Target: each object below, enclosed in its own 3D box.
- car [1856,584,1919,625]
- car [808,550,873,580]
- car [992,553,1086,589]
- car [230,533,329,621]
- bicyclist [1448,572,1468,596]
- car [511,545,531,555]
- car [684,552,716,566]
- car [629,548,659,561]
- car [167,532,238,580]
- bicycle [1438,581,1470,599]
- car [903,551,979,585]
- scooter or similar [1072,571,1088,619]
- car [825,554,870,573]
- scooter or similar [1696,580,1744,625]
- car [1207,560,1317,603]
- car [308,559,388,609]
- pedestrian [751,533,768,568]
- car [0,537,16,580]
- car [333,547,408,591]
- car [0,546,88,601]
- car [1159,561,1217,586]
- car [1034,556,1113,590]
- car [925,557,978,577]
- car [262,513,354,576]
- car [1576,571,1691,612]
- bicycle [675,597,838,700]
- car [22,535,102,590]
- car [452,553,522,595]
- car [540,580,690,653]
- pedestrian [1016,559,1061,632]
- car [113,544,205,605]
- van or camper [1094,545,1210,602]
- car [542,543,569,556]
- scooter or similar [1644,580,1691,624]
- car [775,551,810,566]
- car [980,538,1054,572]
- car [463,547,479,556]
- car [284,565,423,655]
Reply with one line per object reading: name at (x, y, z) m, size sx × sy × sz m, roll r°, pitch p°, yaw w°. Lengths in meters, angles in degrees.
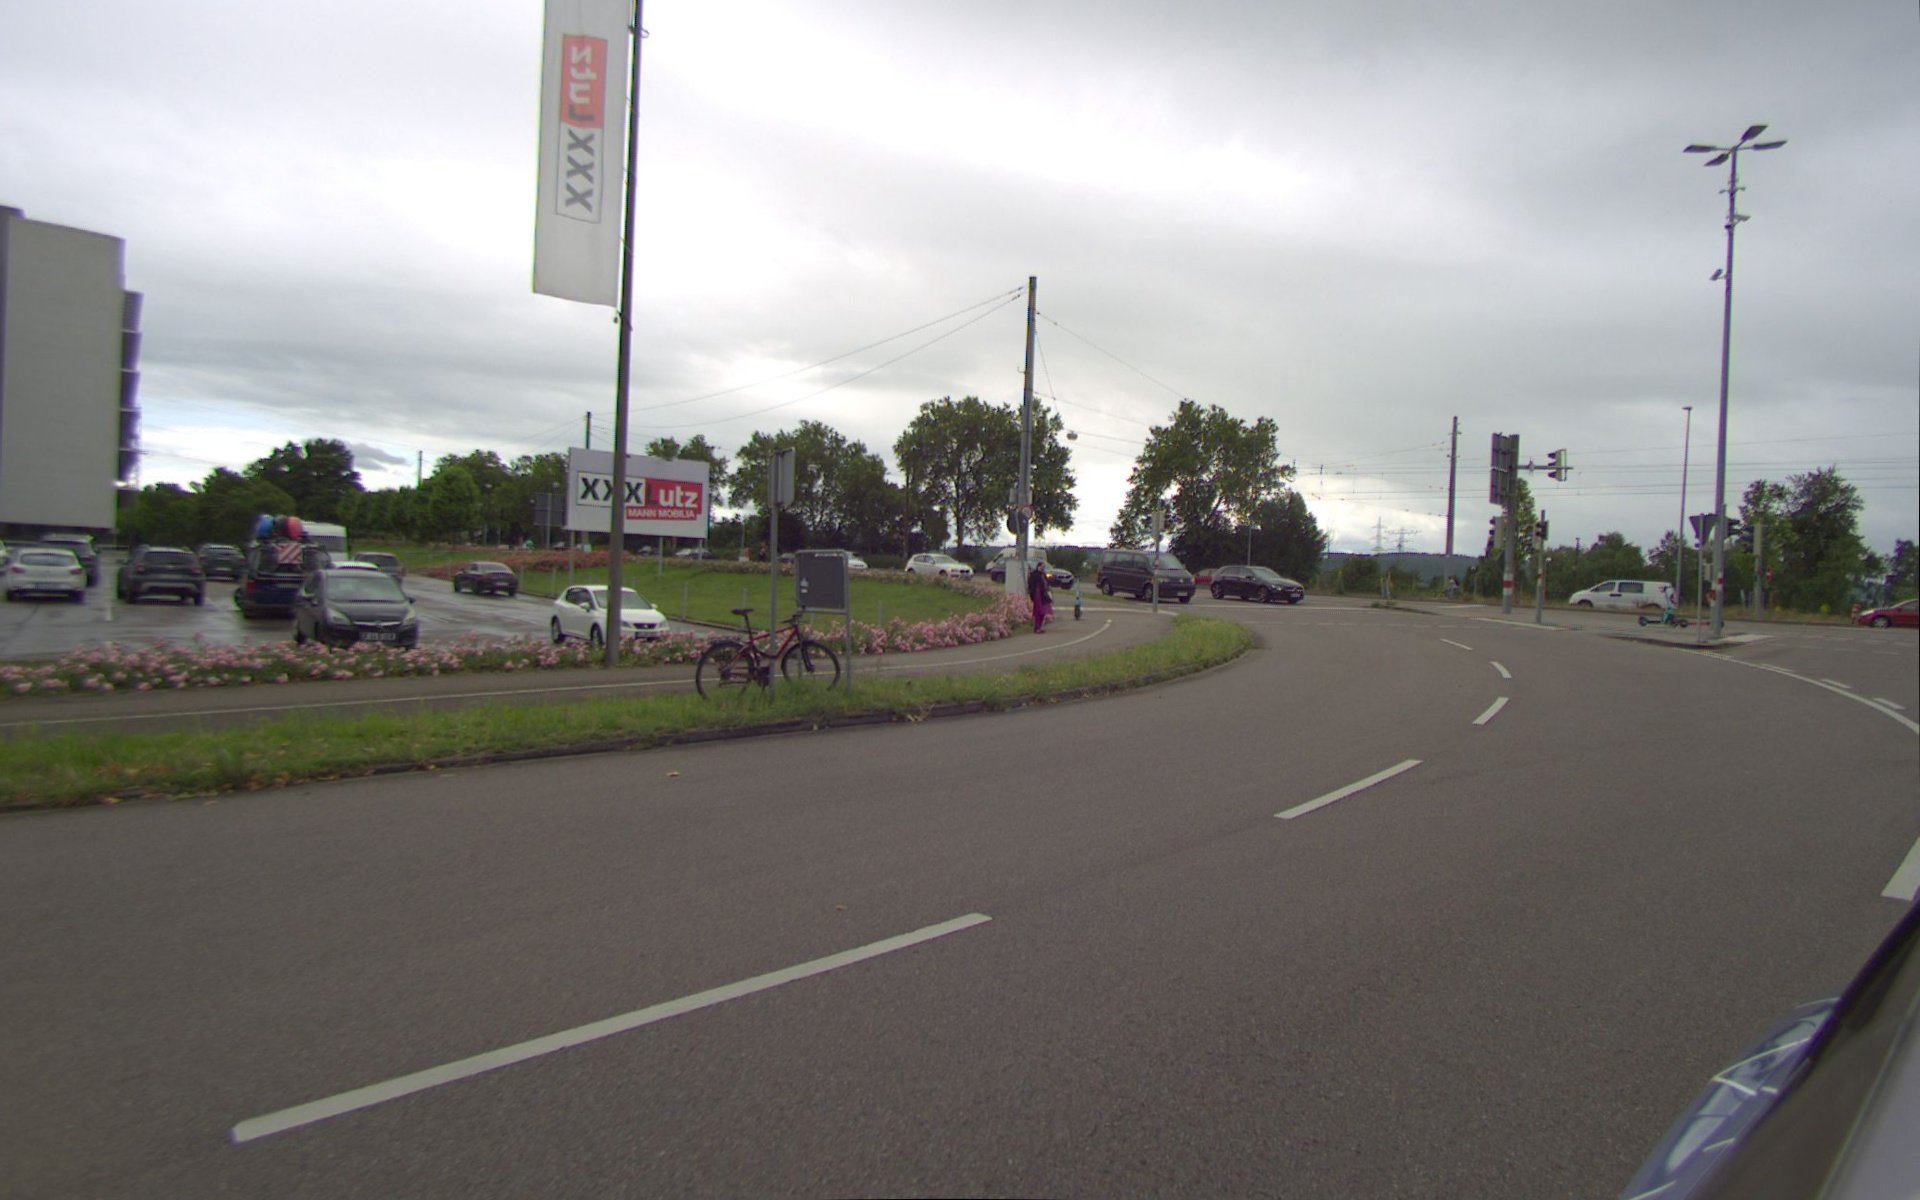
car at (43.206, 0.277, 45.457) m, size 4.228 × 1.672 × 1.759 m, roll 4°, pitch 0°, yaw 38°
car at (-7.084, -2.077, 59.741) m, size 1.717 × 1.622 × 4.067 m, roll 4°, pitch 0°, yaw -43°
car at (3.589, -1.359, 46.610) m, size 1.931 × 1.482 × 4.324 m, roll 1°, pitch 2°, yaw -35°
car at (-18.758, -0.681, 27.837) m, size 2.082 × 2.192 × 5.053 m, roll 1°, pitch 2°, yaw -35°
bicyclist at (31.683, -1.005, 64.374) m, size 0.962 × 1.470 × 0.683 m, roll 4°, pitch 4°, yaw 36°
car at (-73.320, -8.386, 169.080) m, size 1.791 × 1.499 × 3.663 m, roll 4°, pitch 0°, yaw -44°
car at (-30.422, -4.810, 118.545) m, size 1.966 × 1.645 × 3.992 m, roll 0°, pitch 2°, yaw -43°
car at (-42.195, -6.086, 135.197) m, size 4.302 × 1.581 × 1.834 m, roll 3°, pitch -1°, yaw 42°
car at (-32.804, -1.885, 43.806) m, size 1.967 × 1.975 × 3.991 m, roll 0°, pitch 2°, yaw -44°
bicycle at (31.513, -0.652, 64.587) m, size 1.699 × 1.058 × 0.542 m, roll 5°, pitch 4°, yaw 36°
car at (-1.002, -1.677, 52.534) m, size 1.703 × 1.558 × 4.041 m, roll 4°, pitch 0°, yaw -41°
scooter or similar at (3.232, -0.151, 27.172) m, size 0.341 × 1.248 × 1.161 m, roll 0°, pitch 1°, yaw 11°
car at (-10.593, -3.459, 95.046) m, size 4.185 × 1.571 × 1.833 m, roll 4°, pitch 1°, yaw 41°
scooter or similar at (22.702, 0.068, 30.242) m, size 0.455 × 1.271 × 1.020 m, roll 0°, pitch 3°, yaw -27°
car at (12.266, -0.798, 41.381) m, size 1.800 × 1.481 × 4.216 m, roll 1°, pitch 4°, yaw -28°
car at (-20.063, -0.555, 33.106) m, size 1.714 × 1.494 × 4.209 m, roll 0°, pitch 2°, yaw -38°
pedestrian at (-10.843, -2.677, 54.799) m, size 0.628 × 1.804 × 0.541 m, roll 3°, pitch -1°, yaw 25°
car at (-37.706, -1.644, 38.880) m, size 1.746 × 1.550 × 3.998 m, roll 1°, pitch 2°, yaw -38°
car at (-24.767, -1.315, 42.478) m, size 1.854 × 1.686 × 3.992 m, roll 1°, pitch 1°, yaw -43°
car at (-26.373, -0.771, 28.992) m, size 3.893 × 1.486 × 1.802 m, roll 2°, pitch 2°, yaw 45°
car at (16.468, -1.915, 73.216) m, size 3.758 × 1.581 × 1.630 m, roll 4°, pitch 1°, yaw 42°
car at (6.155, -1.509, 55.275) m, size 1.965 × 1.749 × 3.994 m, roll 0°, pitch 2°, yaw -41°
car at (-0.724, -2.805, 85.370) m, size 4.329 × 1.408 × 1.847 m, roll 5°, pitch 1°, yaw 42°
car at (-35.231, -2.970, 54.599) m, size 2.723 × 3.027 × 6.934 m, roll 4°, pitch -1°, yaw -44°
car at (37.134, -0.495, 55.893) m, size 5.096 × 1.903 × 2.071 m, roll 4°, pitch 0°, yaw 38°
bicycle at (-2.262, 0.507, 11.333) m, size 1.659 × 1.061 × 0.665 m, roll 0°, pitch 2°, yaw -35°
car at (-32.144, -1.388, 36.322) m, size 1.831 × 1.802 × 4.222 m, roll 1°, pitch 2°, yaw -38°
car at (-21.296, -1.188, 45.484) m, size 1.880 × 1.778 × 3.996 m, roll 0°, pitch 2°, yaw -39°
car at (-8.192, 0.346, 23.803) m, size 1.843 × 1.464 × 4.114 m, roll 4°, pitch 0°, yaw -42°
pedestrian at (1.810, -0.116, 23.342) m, size 0.704 × 1.616 × 0.783 m, roll -2°, pitch 4°, yaw -41°
car at (-23.953, -0.777, 30.218) m, size 1.965 × 1.696 × 3.994 m, roll 0°, pitch 2°, yaw -41°
van or camper at (7.498, -1.114, 39.983) m, size 2.080 × 2.037 × 4.764 m, roll -1°, pitch 4°, yaw -25°
car at (-59.070, -7.351, 147.842) m, size 4.300 × 1.657 × 1.811 m, roll 4°, pitch 1°, yaw 41°
scooter or similar at (21.546, 0.044, 30.852) m, size 0.314 × 1.271 × 1.118 m, roll -1°, pitch 3°, yaw -27°
car at (-18.373, -4.551, 110.977) m, size 1.710 × 1.497 × 4.311 m, roll 4°, pitch 0°, yaw -42°
car at (4.847, -3.866, 86.428) m, size 5.883 × 2.658 × 2.622 m, roll 4°, pitch 1°, yaw 44°
car at (-92.611, -9.210, 191.561) m, size 1.723 × 1.449 × 3.367 m, roll 4°, pitch 1°, yaw -45°
car at (-12.325, 0.154, 20.448) m, size 1.738 × 1.603 × 4.101 m, roll 3°, pitch 0°, yaw -40°
